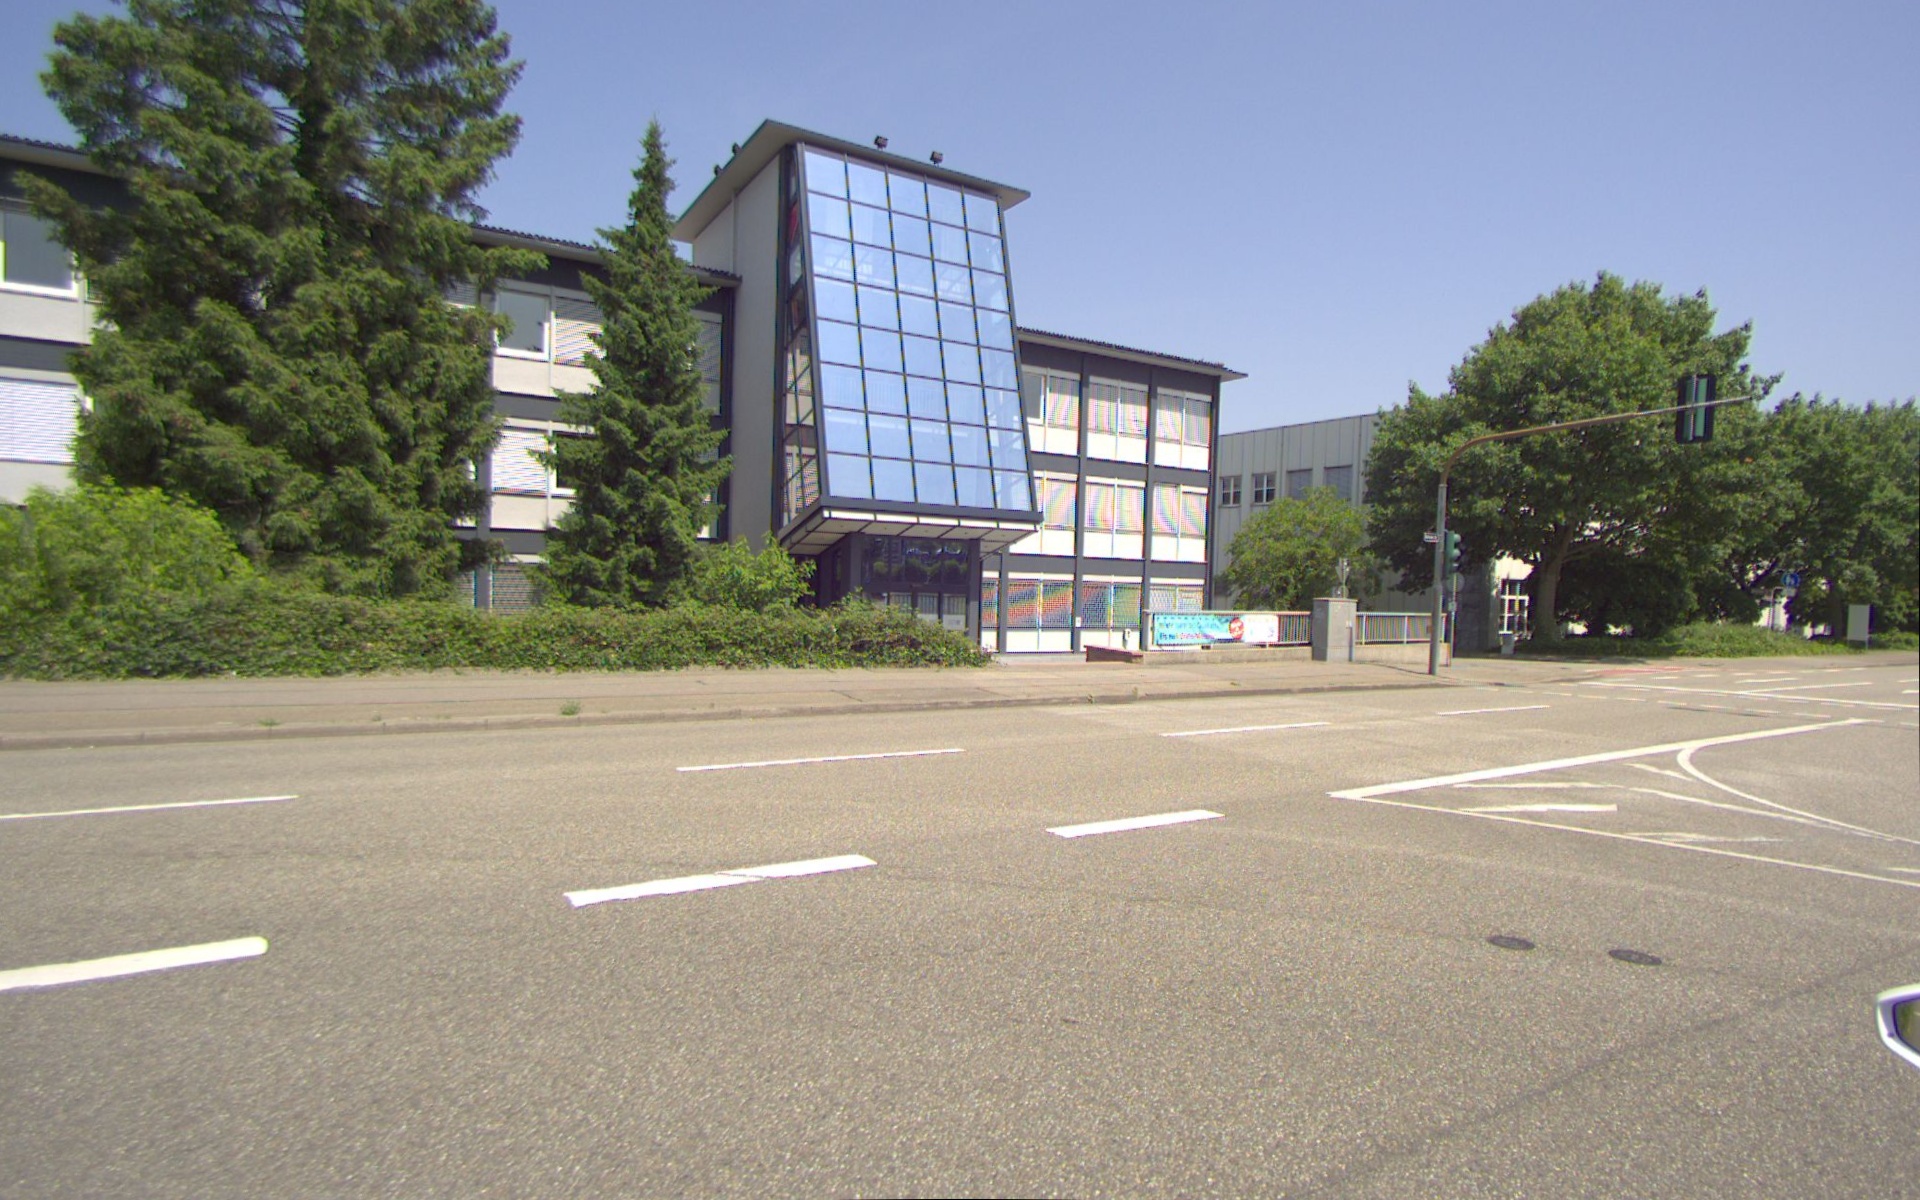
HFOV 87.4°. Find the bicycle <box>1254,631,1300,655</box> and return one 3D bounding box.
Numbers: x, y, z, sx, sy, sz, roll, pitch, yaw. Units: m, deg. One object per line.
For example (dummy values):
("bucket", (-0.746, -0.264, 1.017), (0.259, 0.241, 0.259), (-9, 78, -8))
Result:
("bicycle", (15.835, 2.129, 50.224), (0.774, 1.128, 2.162), (2, -1, -32))

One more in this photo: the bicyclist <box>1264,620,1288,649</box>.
("bicyclist", (15.815, 1.738, 50.234), (0.737, 1.428, 0.853), (1, 0, -32))

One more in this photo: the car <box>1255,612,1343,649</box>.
("car", (17.471, 1.545, 51.893), (1.898, 1.617, 3.964), (2, 2, -32))
